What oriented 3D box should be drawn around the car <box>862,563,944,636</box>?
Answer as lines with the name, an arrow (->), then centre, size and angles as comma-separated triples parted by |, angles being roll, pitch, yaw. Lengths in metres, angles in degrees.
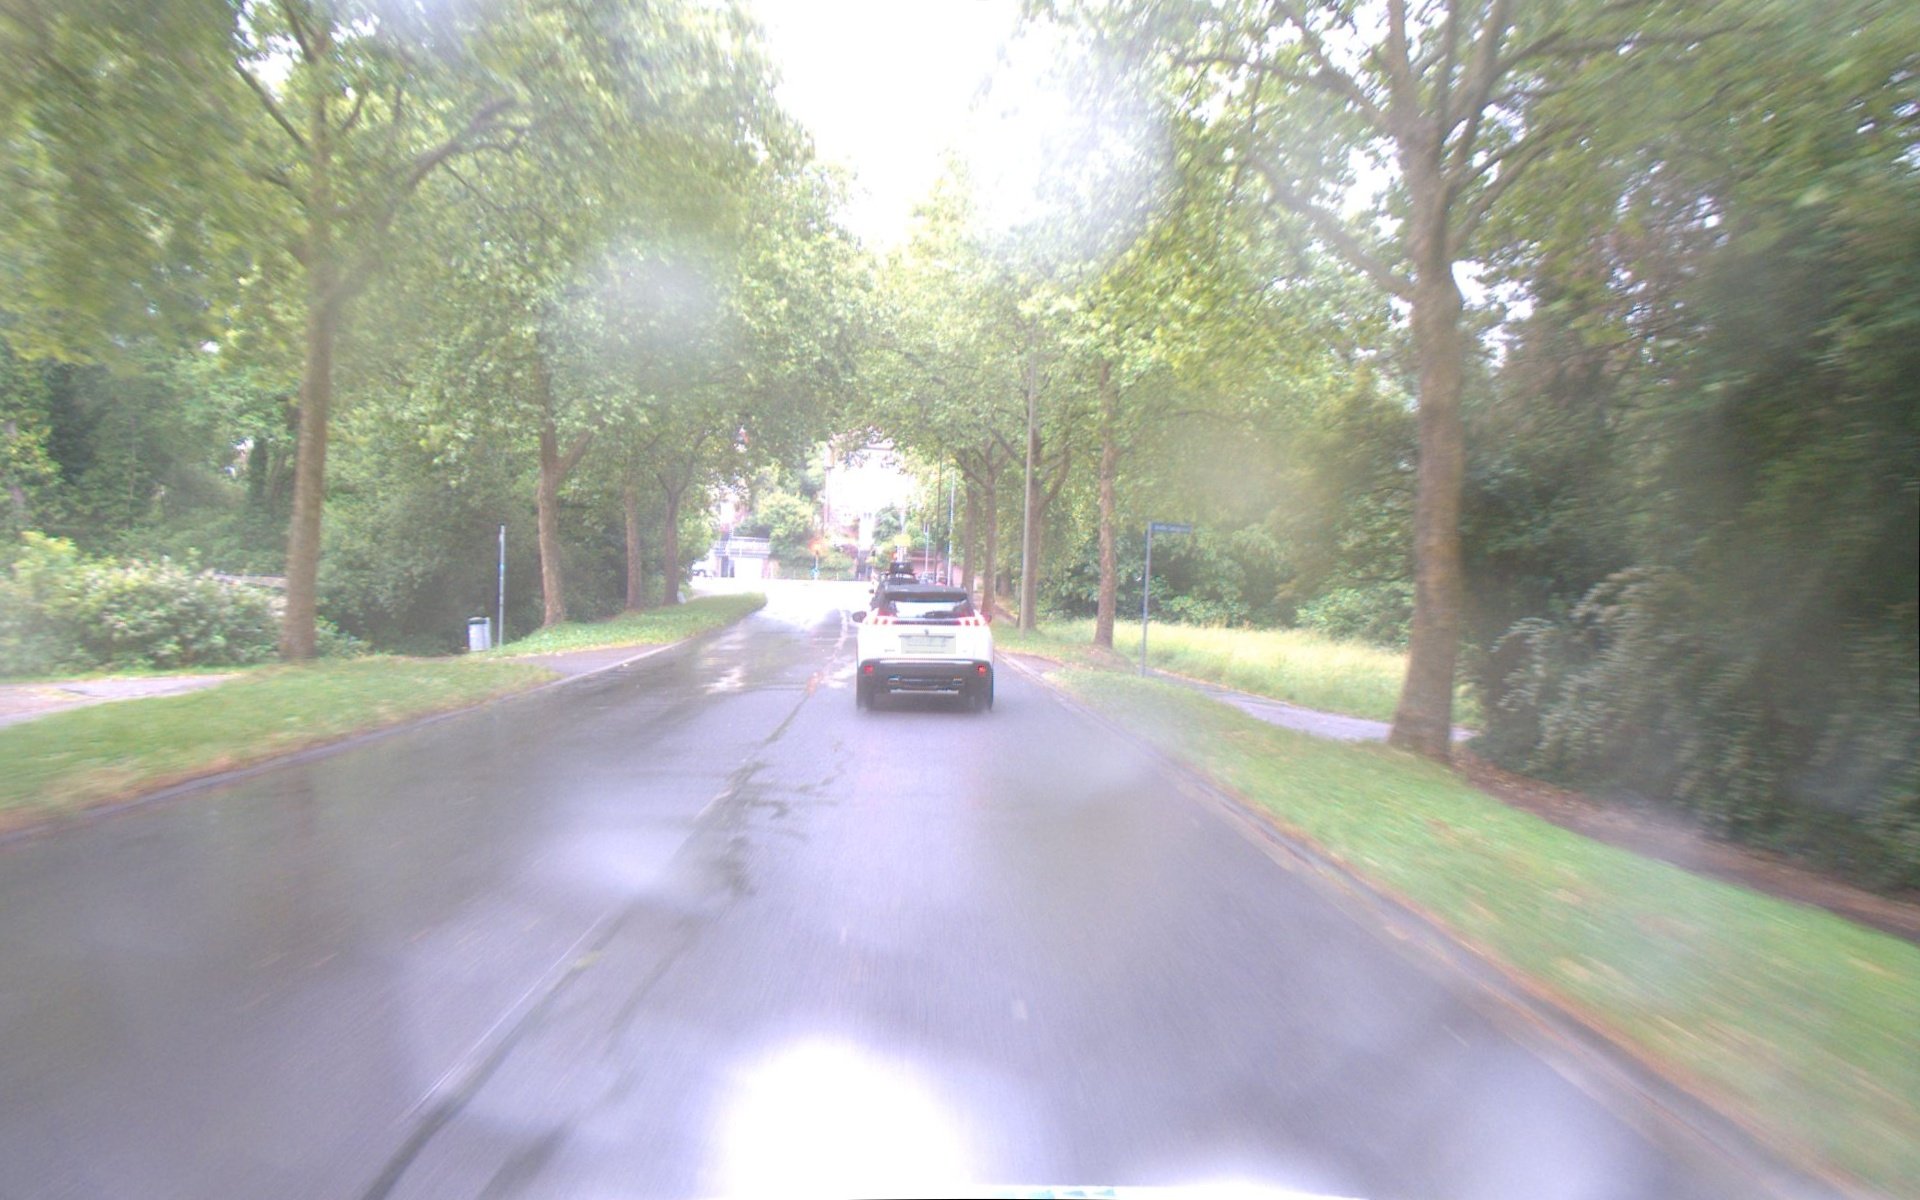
car -> -1.484, -0.062, 41.233 | 1.796, 1.481, 4.656 | 5, 2, -4

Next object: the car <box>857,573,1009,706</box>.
car -> -0.458, 0.443, 22.209 | 1.718, 1.562, 4.363 | 1, 1, -5

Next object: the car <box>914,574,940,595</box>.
car -> -2.603, -1.212, 130.412 | 1.716, 1.517, 3.596 | 5, 0, -5

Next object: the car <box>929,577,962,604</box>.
car -> -1.063, -0.694, 121.059 | 1.787, 1.542, 3.738 | 9, 2, -8

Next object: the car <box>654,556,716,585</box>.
car -> -26.731, -2.853, 160.981 | 5.549, 2.537, 2.314 | 3, -1, -4
